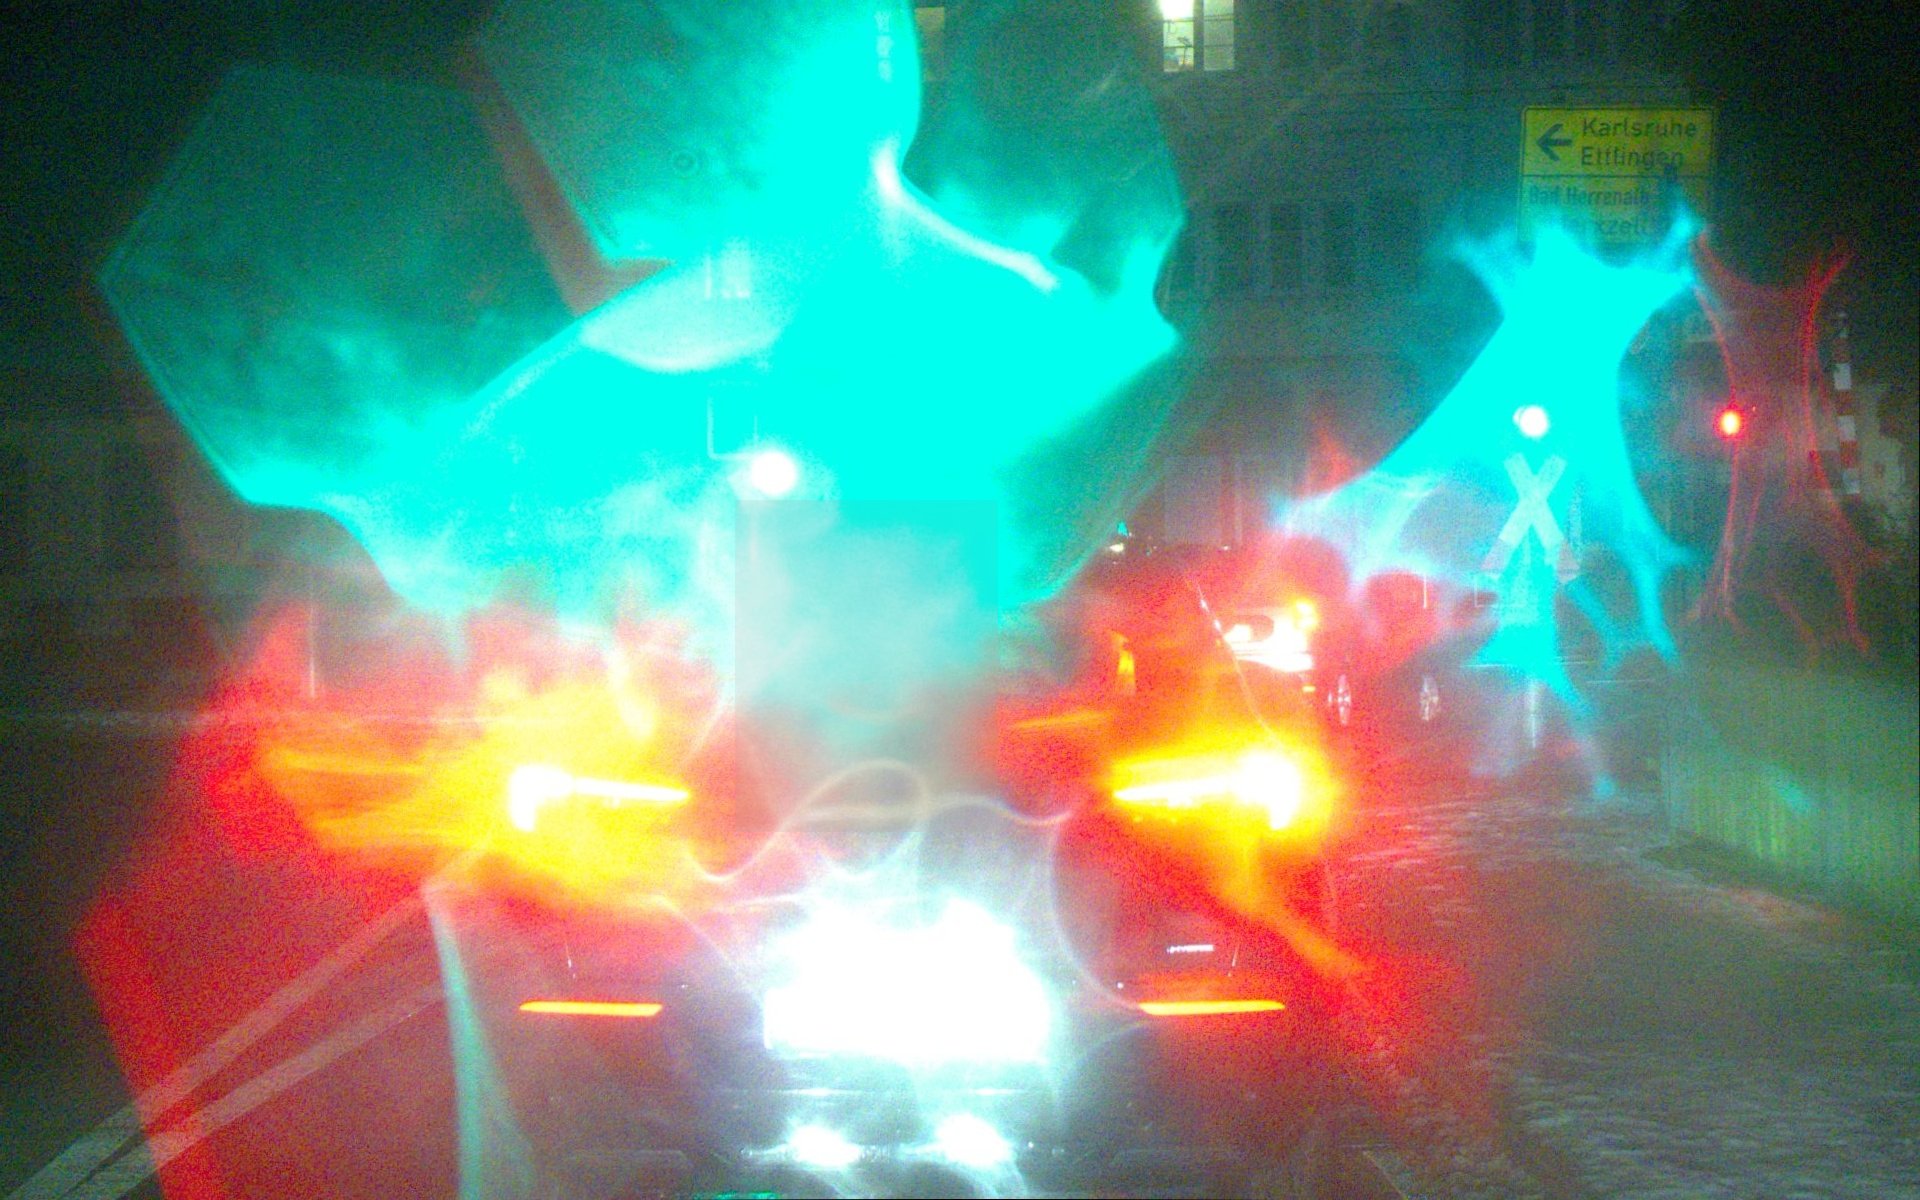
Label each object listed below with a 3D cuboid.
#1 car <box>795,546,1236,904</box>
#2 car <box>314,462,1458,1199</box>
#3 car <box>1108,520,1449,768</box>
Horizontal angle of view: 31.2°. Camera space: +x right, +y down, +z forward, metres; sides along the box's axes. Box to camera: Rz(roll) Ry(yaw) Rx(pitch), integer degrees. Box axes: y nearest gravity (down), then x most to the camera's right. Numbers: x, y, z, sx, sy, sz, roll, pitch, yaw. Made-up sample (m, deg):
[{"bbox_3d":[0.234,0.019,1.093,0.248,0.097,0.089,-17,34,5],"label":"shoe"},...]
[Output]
[{"bbox_3d":[0.285,0.527,17.553,1.909,1.505,4.241,-3,1,1],"label":"car"},{"bbox_3d":[-0.163,0.591,8.343,2.057,1.672,4.139,1,0,-1],"label":"car"},{"bbox_3d":[2.872,0.358,30.118,1.773,1.940,4.250,3,1,21],"label":"car"}]
